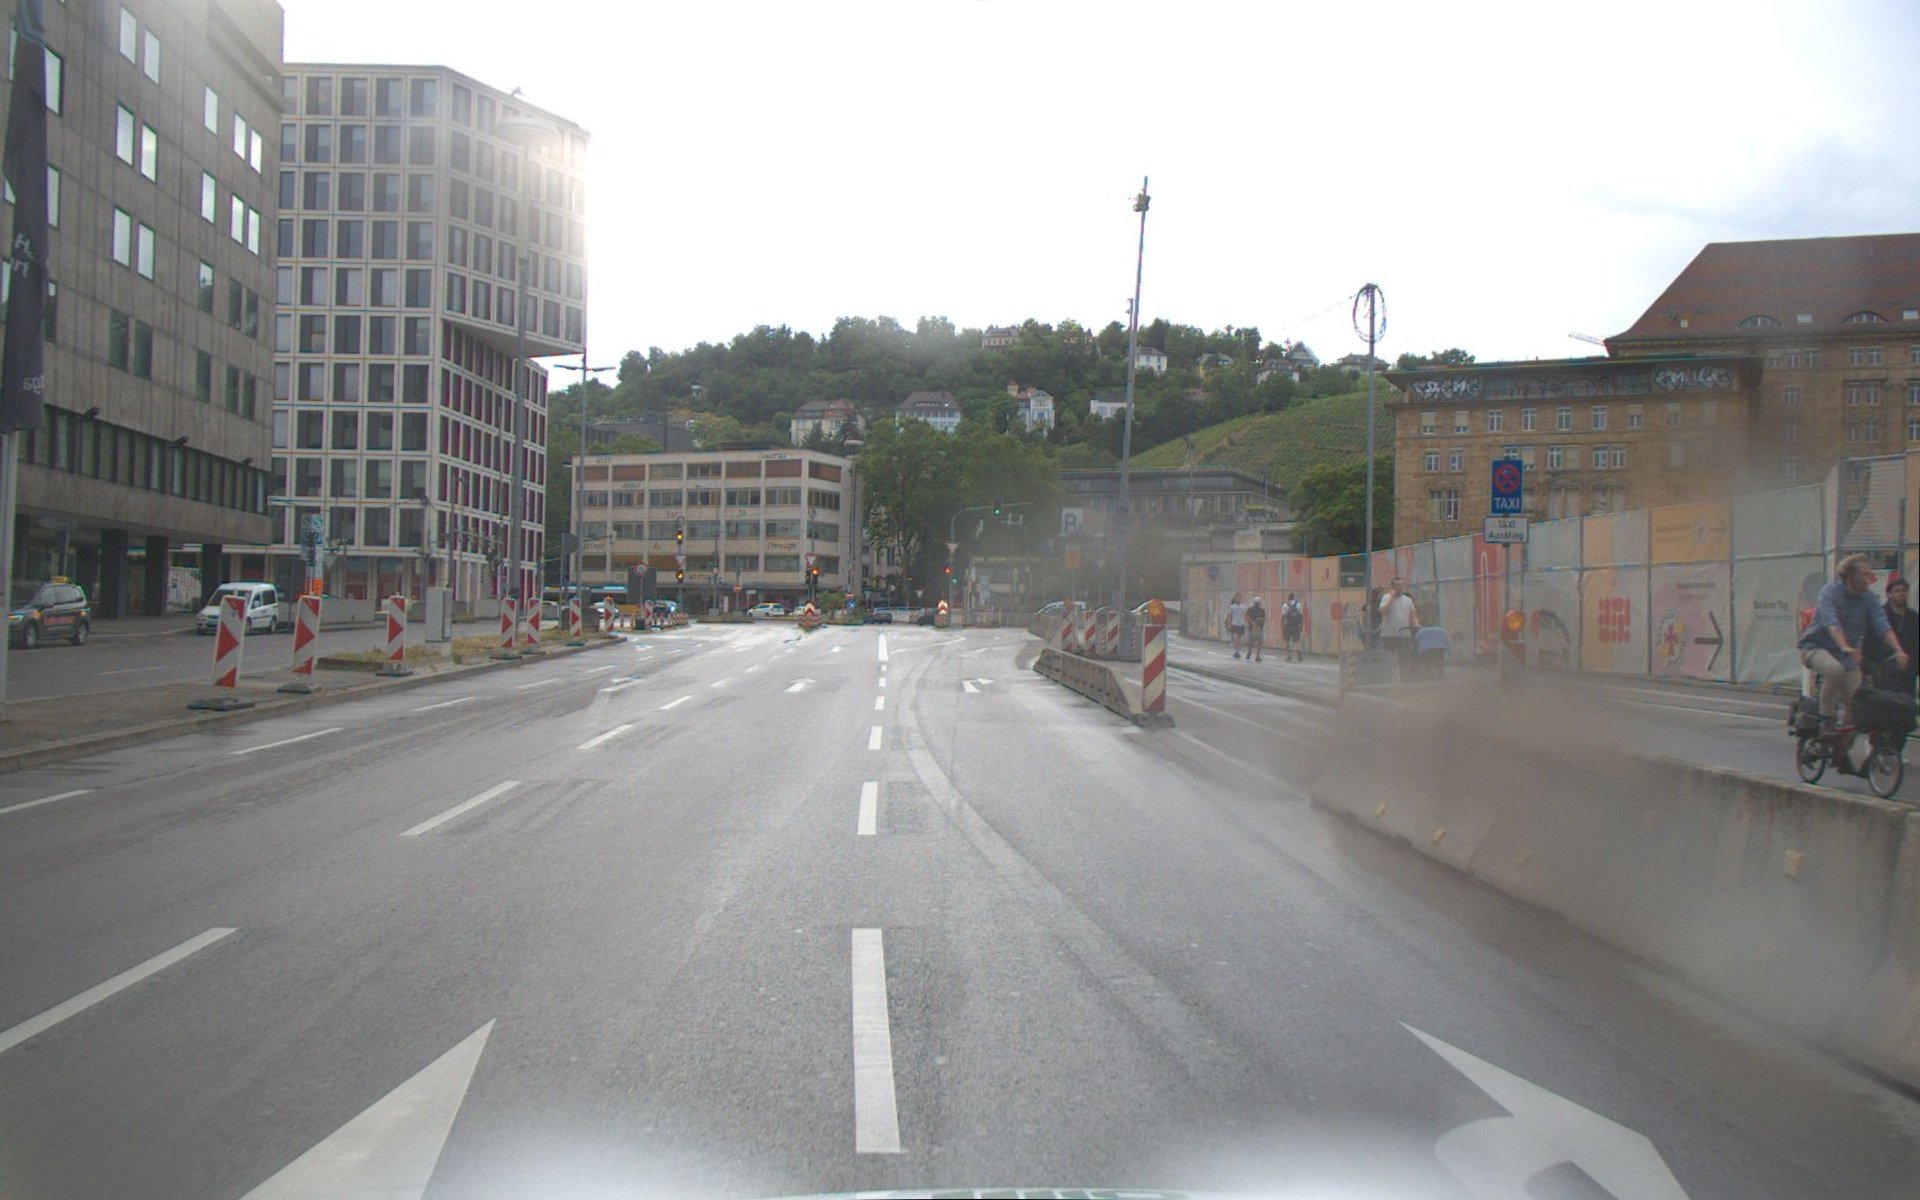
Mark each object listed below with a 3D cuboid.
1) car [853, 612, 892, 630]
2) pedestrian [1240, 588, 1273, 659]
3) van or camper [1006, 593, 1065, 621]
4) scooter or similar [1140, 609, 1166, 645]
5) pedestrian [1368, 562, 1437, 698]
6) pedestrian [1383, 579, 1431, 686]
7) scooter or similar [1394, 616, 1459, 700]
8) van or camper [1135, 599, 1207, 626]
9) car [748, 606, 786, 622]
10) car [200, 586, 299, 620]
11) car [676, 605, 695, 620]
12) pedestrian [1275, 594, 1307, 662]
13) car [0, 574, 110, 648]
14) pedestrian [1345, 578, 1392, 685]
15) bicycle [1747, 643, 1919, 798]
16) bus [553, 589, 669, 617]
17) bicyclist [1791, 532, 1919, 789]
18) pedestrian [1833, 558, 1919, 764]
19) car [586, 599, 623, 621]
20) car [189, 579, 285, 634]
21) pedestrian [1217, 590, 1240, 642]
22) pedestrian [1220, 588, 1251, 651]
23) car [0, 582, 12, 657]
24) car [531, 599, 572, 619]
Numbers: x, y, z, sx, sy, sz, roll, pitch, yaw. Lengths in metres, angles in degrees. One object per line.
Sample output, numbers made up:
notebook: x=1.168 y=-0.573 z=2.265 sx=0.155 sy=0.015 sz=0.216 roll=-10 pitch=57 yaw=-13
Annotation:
car: x=-7.950 y=1.881 z=149.781 sx=1.716 sy=1.518 sz=4.027 roll=1 pitch=0 yaw=-35
pedestrian: x=7.584 y=0.599 z=42.326 sx=0.630 sy=1.771 sz=0.837 roll=1 pitch=0 yaw=-3
van or camper: x=5.595 y=0.528 z=123.013 sx=4.158 sy=2.013 sz=1.850 roll=1 pitch=0 yaw=-4
scooter or similar: x=6.592 y=0.923 z=56.448 sx=0.459 sy=1.204 sz=1.411 roll=1 pitch=0 yaw=-11
pedestrian: x=6.847 y=0.462 z=25.623 sx=0.786 sy=2.052 sz=0.972 roll=1 pitch=0 yaw=0
pedestrian: x=8.148 y=0.580 z=30.165 sx=0.669 sy=1.922 sz=0.693 roll=1 pitch=0 yaw=0
scooter or similar: x=6.937 y=0.850 z=24.615 sx=0.651 sy=1.219 sz=1.044 roll=1 pitch=0 yaw=0
van or camper: x=15.751 y=0.911 z=123.539 sx=5.092 sy=1.927 sz=1.886 roll=1 pitch=0 yaw=-4
car: x=-19.828 y=1.414 z=169.850 sx=4.003 sy=1.518 sz=1.726 roll=1 pitch=0 yaw=41
car: x=-42.131 y=0.161 z=98.118 sx=4.961 sy=1.938 sz=2.089 roll=1 pitch=0 yaw=4
car: x=-27.038 y=1.231 z=162.738 sx=1.797 sy=1.512 sz=3.990 roll=1 pitch=0 yaw=-10
pedestrian: x=9.326 y=0.785 z=46.623 sx=0.689 sy=1.899 sz=0.990 roll=1 pitch=0 yaw=-1
car: x=-23.452 y=0.281 z=41.795 sx=1.780 sy=1.758 sz=4.511 roll=1 pitch=-1 yaw=-3
pedestrian: x=7.450 y=0.562 z=30.168 sx=0.669 sy=1.922 sz=0.693 roll=1 pitch=0 yaw=0
bicycle: x=7.319 y=0.945 z=13.587 sx=0.750 sy=1.131 sz=1.981 roll=1 pitch=0 yaw=-1
bus: x=-38.484 y=0.310 z=182.097 sx=13.667 sy=2.799 sz=3.206 roll=1 pitch=0 yaw=29
bicyclist: x=7.318 y=0.485 z=13.538 sx=0.712 sy=2.049 sz=0.599 roll=1 pitch=-1 yaw=-1
pedestrian: x=8.945 y=0.576 z=15.823 sx=0.831 sy=1.928 sz=0.662 roll=1 pitch=-1 yaw=-1
car: x=-29.215 y=0.858 z=135.985 sx=2.178 sy=1.784 sz=4.809 roll=0 pitch=-1 yaw=-3
car: x=-25.000 y=0.233 z=57.346 sx=1.740 sy=1.793 sz=4.366 roll=1 pitch=0 yaw=-5
pedestrian: x=9.971 y=0.587 z=61.439 sx=0.705 sy=1.899 sz=0.709 roll=1 pitch=0 yaw=-3
pedestrian: x=7.887 y=0.547 z=47.402 sx=0.670 sy=1.771 sz=0.907 roll=1 pitch=0 yaw=-3
car: x=-22.913 y=0.423 z=36.406 sx=1.781 sy=1.728 sz=4.572 roll=1 pitch=-1 yaw=-5
car: x=-39.026 y=0.858 z=157.978 sx=3.923 sy=1.847 sz=1.798 roll=1 pitch=0 yaw=38
